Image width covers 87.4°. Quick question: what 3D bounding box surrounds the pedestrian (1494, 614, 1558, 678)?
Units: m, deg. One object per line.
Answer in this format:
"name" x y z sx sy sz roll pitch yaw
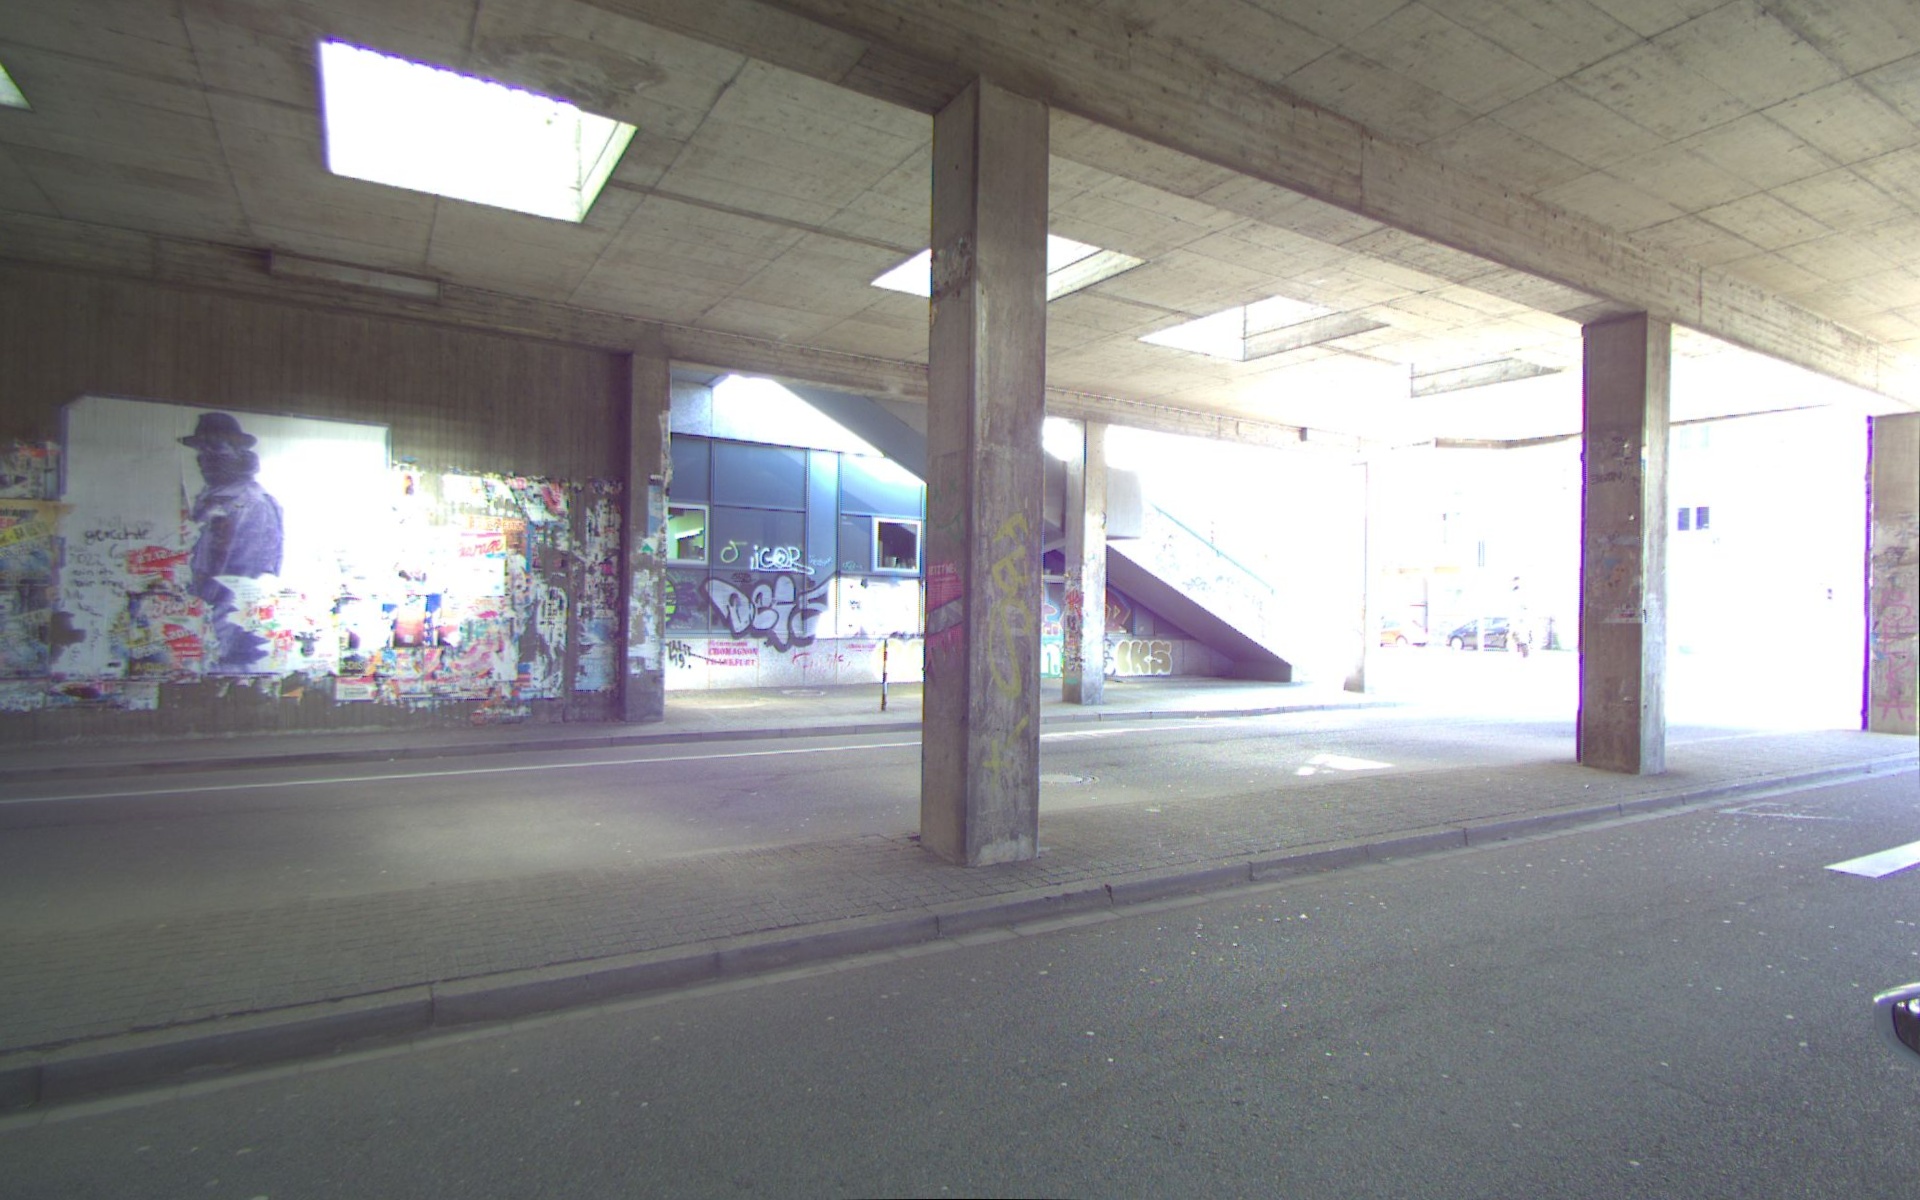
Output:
"pedestrian" 16.049 1.291 28.484 1.123 1.760 1.111 1 -1 -17

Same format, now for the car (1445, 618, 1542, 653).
"car" 25.343 1.666 47.834 1.732 1.528 3.735 1 -1 -31

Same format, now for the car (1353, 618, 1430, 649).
"car" 22.477 1.712 52.461 1.543 1.526 3.518 1 -1 -29
